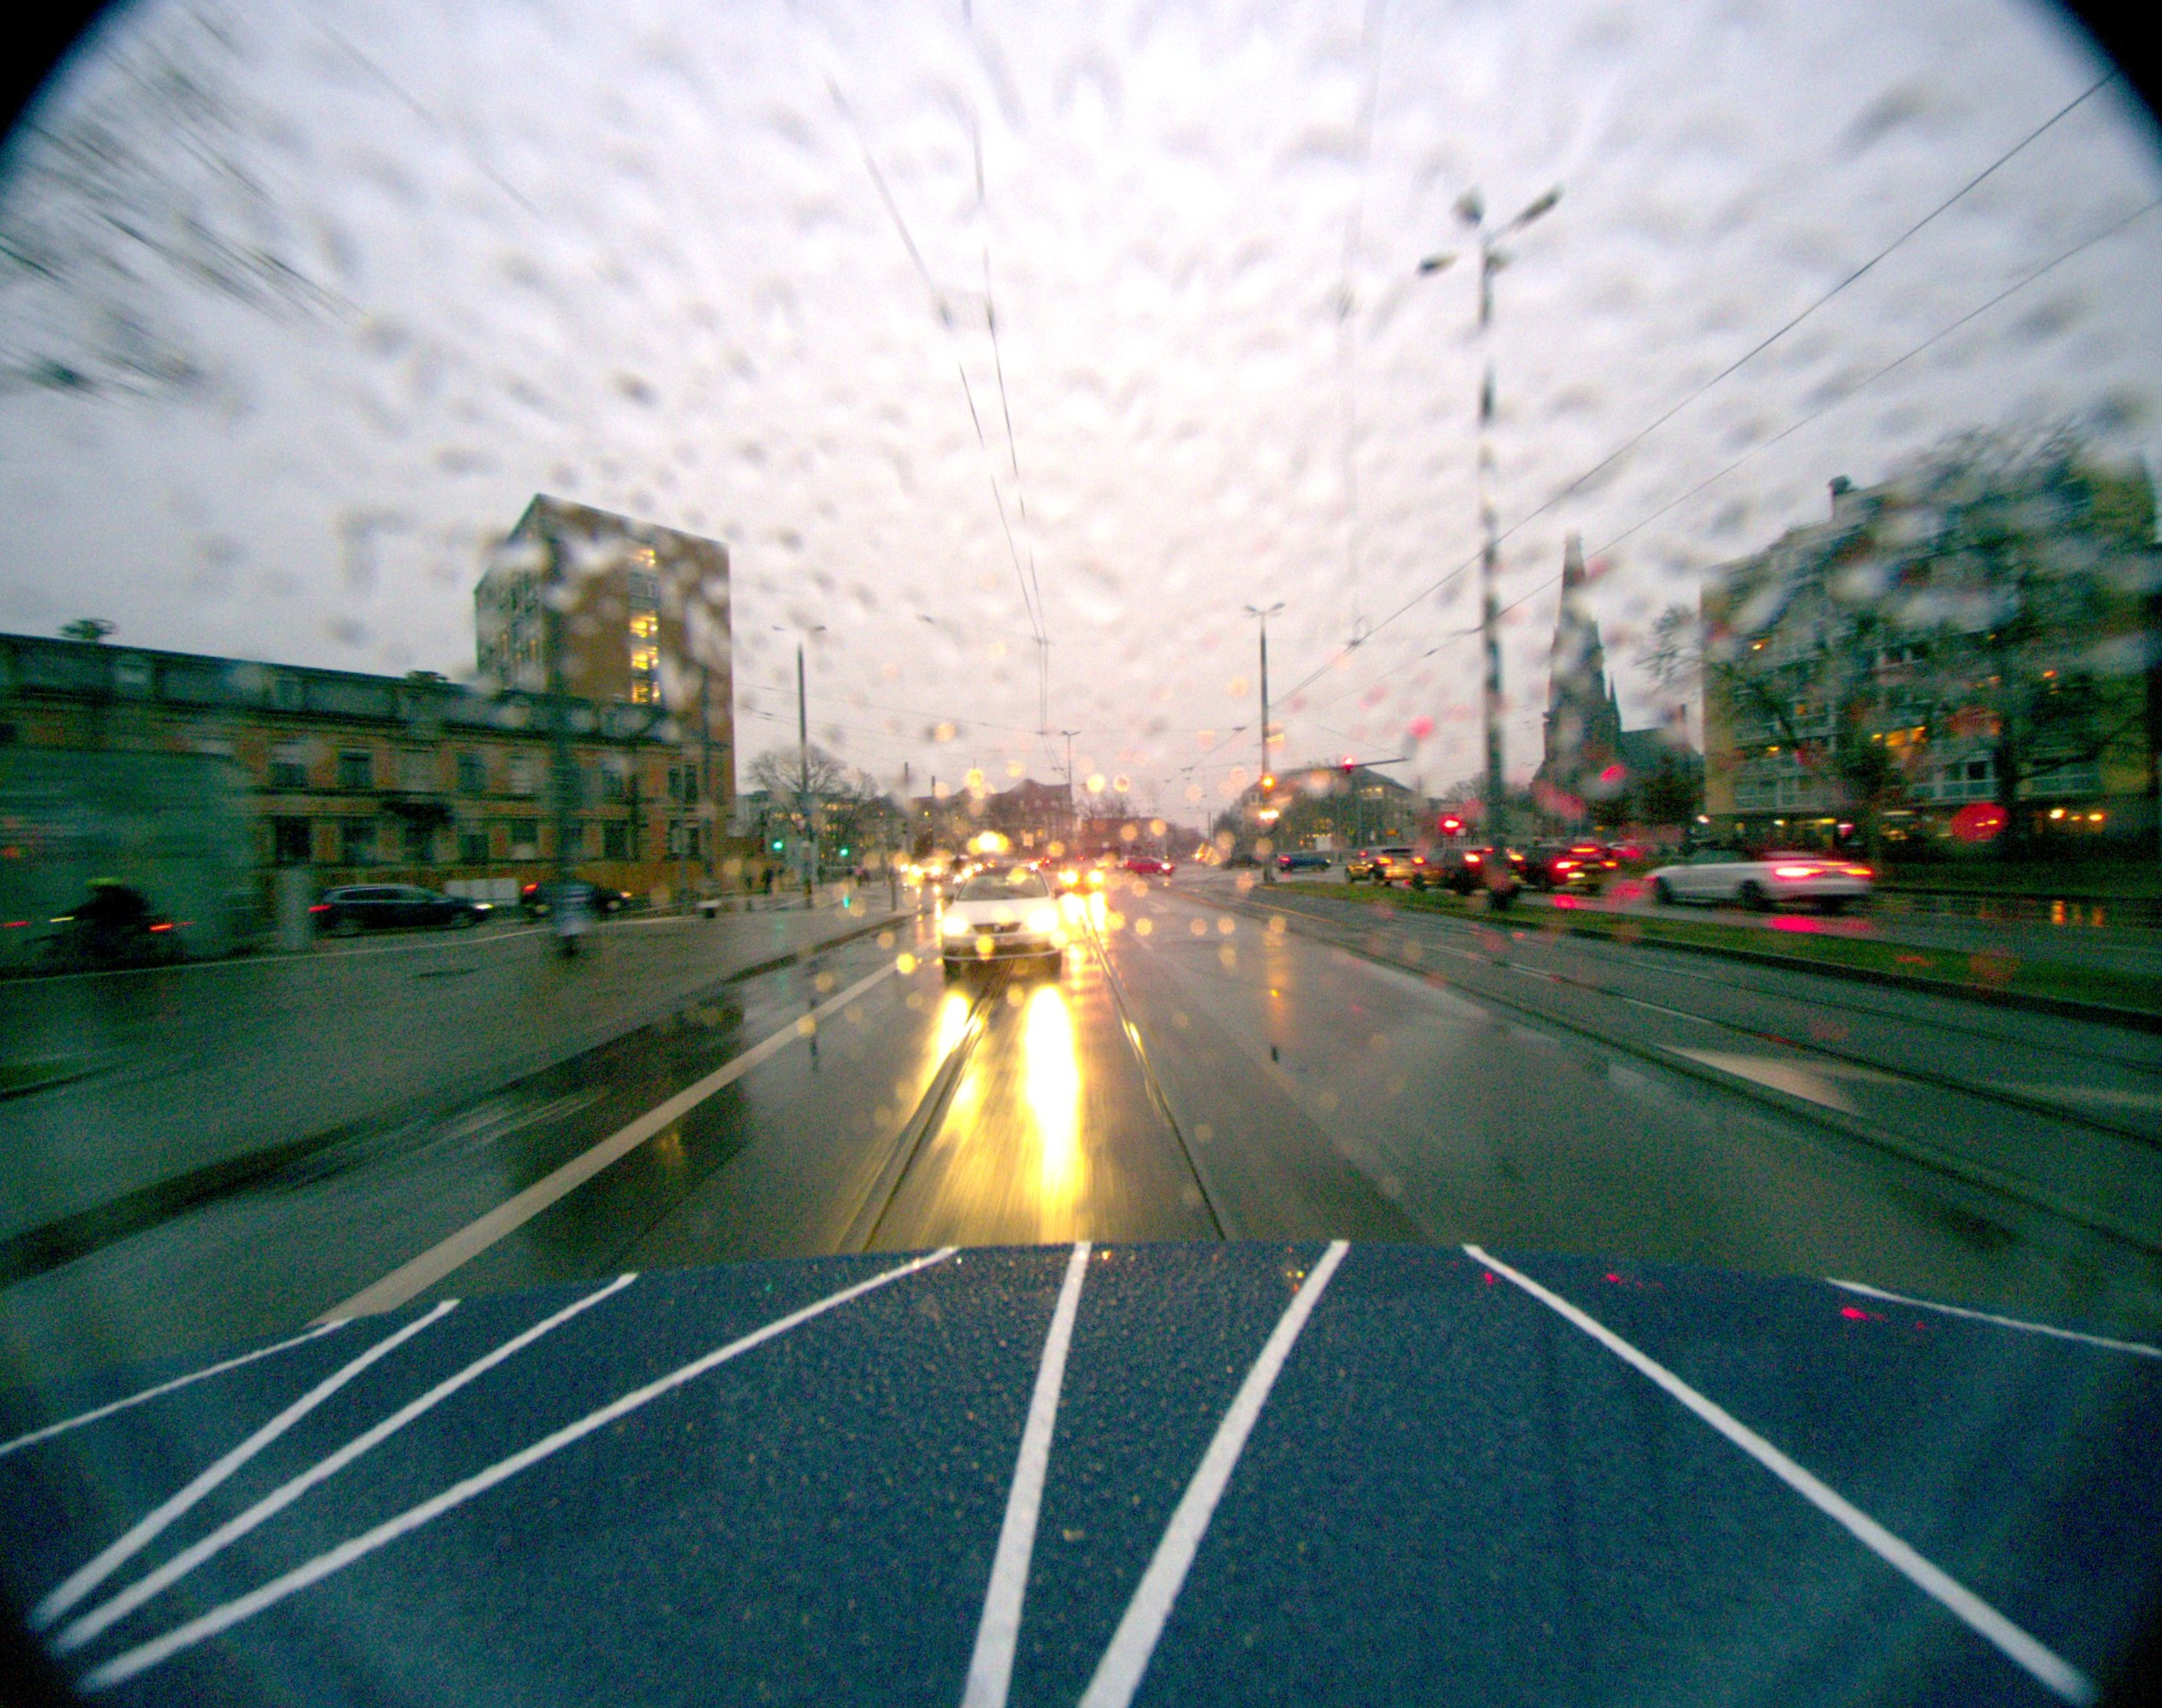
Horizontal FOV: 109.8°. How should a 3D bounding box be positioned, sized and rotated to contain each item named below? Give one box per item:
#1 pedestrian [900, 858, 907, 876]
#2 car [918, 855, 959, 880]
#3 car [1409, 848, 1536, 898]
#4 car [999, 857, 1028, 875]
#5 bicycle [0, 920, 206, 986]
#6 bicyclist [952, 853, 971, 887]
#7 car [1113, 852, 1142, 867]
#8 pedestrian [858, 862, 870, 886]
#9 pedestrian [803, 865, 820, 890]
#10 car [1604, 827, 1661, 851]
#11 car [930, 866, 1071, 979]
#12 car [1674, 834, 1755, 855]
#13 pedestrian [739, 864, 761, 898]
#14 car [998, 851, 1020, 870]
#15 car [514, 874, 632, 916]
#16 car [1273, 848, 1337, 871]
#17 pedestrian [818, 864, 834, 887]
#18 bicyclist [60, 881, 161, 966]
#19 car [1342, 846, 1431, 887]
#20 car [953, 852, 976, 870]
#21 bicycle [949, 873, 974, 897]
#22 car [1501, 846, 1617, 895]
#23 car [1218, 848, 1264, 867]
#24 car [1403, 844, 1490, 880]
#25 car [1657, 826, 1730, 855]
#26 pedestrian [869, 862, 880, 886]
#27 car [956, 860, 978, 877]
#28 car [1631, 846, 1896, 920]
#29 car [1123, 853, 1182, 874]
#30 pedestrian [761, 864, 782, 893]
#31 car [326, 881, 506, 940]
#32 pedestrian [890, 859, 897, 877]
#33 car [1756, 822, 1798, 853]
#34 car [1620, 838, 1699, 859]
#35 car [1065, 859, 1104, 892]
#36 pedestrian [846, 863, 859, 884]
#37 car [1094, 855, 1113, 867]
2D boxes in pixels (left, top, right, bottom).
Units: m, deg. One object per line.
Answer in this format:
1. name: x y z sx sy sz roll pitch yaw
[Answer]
1. pedestrian: -17.670 1.315 75.656 0.638 1.752 0.510 -2 1 -14
2. car: -11.538 1.044 61.773 1.998 1.827 4.872 -2 0 4
3. car: 11.763 0.523 23.148 1.876 1.382 4.000 0 0 1
4. car: -6.355 1.070 71.164 1.826 1.565 3.994 -2 0 -17
5. bicycle: -17.651 1.756 13.790 2.245 0.901 0.598 -2 1 -43
6. bicyclist: -5.542 0.744 35.271 0.727 1.525 0.785 -2 1 1
7. car: 5.432 0.627 89.931 2.001 1.688 4.476 -2 0 -16
8. pedestrian: -16.641 1.541 58.235 0.651 1.811 0.637 -3 1 -35
9. pedestrian: -17.777 1.536 50.130 0.881 1.610 0.747 -3 1 -35
10. car: 51.938 -1.415 71.579 3.990 2.002 2.003 -2 1 25
11. car: -1.129 0.974 12.427 1.797 1.415 4.000 -2 0 0
12. car: 43.898 -0.621 52.730 2.003 1.302 3.989 -3 1 -38
13. pedestrian: -16.482 1.344 37.804 0.821 1.610 0.747 -3 1 -34
14. car: -8.353 0.700 87.686 2.000 2.002 5.547 -3 1 -10
15. car: -20.776 1.632 31.135 3.755 1.394 1.614 -4 2 -41
16. car: 16.981 0.438 57.785 4.263 1.559 1.824 -2 1 -5
17. pedestrian: -18.351 1.526 54.665 0.881 1.610 0.747 -3 1 -35
18. bicyclist: -17.623 1.230 13.824 1.009 1.434 0.590 -3 1 -43
19. car: 11.987 0.456 30.095 1.904 1.477 4.000 -2 0 1
20. car: -12.514 0.690 81.306 2.020 1.809 3.684 -3 1 -14
21. bicycle: -5.519 1.400 35.167 0.725 0.985 2.212 -2 0 1
22. car: 15.216 0.479 24.403 1.604 1.410 3.471 -2 0 1
23. car: 15.127 0.333 71.794 3.991 1.543 2.003 -2 1 21
24. car: 15.339 0.313 32.111 1.728 1.350 4.000 -2 0 1
25. car: 46.709 -1.034 58.014 2.003 2.002 3.989 -3 1 -38
26. pedestrian: -15.767 1.530 58.034 0.511 1.752 0.637 -3 1 -35
27. car: -10.847 1.370 72.039 1.829 1.499 3.800 -2 0 -11
28. car: 15.234 0.560 17.398 1.998 1.413 4.587 -2 0 1
29. car: 5.583 0.738 59.373 4.085 1.521 2.003 -2 1 28
30. pedestrian: -18.248 1.429 44.847 0.818 1.667 0.749 -2 1 9
31. car: -22.271 1.816 25.598 4.396 1.579 1.885 -2 1 -43
32. pedestrian: -18.589 1.357 75.405 0.638 1.752 0.510 -2 1 -14
33. car: 48.586 -1.175 53.085 1.994 2.002 4.007 -2 1 40
34. car: 40.479 -0.367 53.203 2.003 1.302 3.989 -3 1 -38
35. car: 0.174 1.004 37.402 1.797 1.415 4.000 -2 0 0
36. pedestrian: -17.535 1.487 58.257 0.710 1.610 0.747 -3 1 -35
37. car: 2.896 0.886 97.352 1.999 1.433 4.481 -2 0 -3
